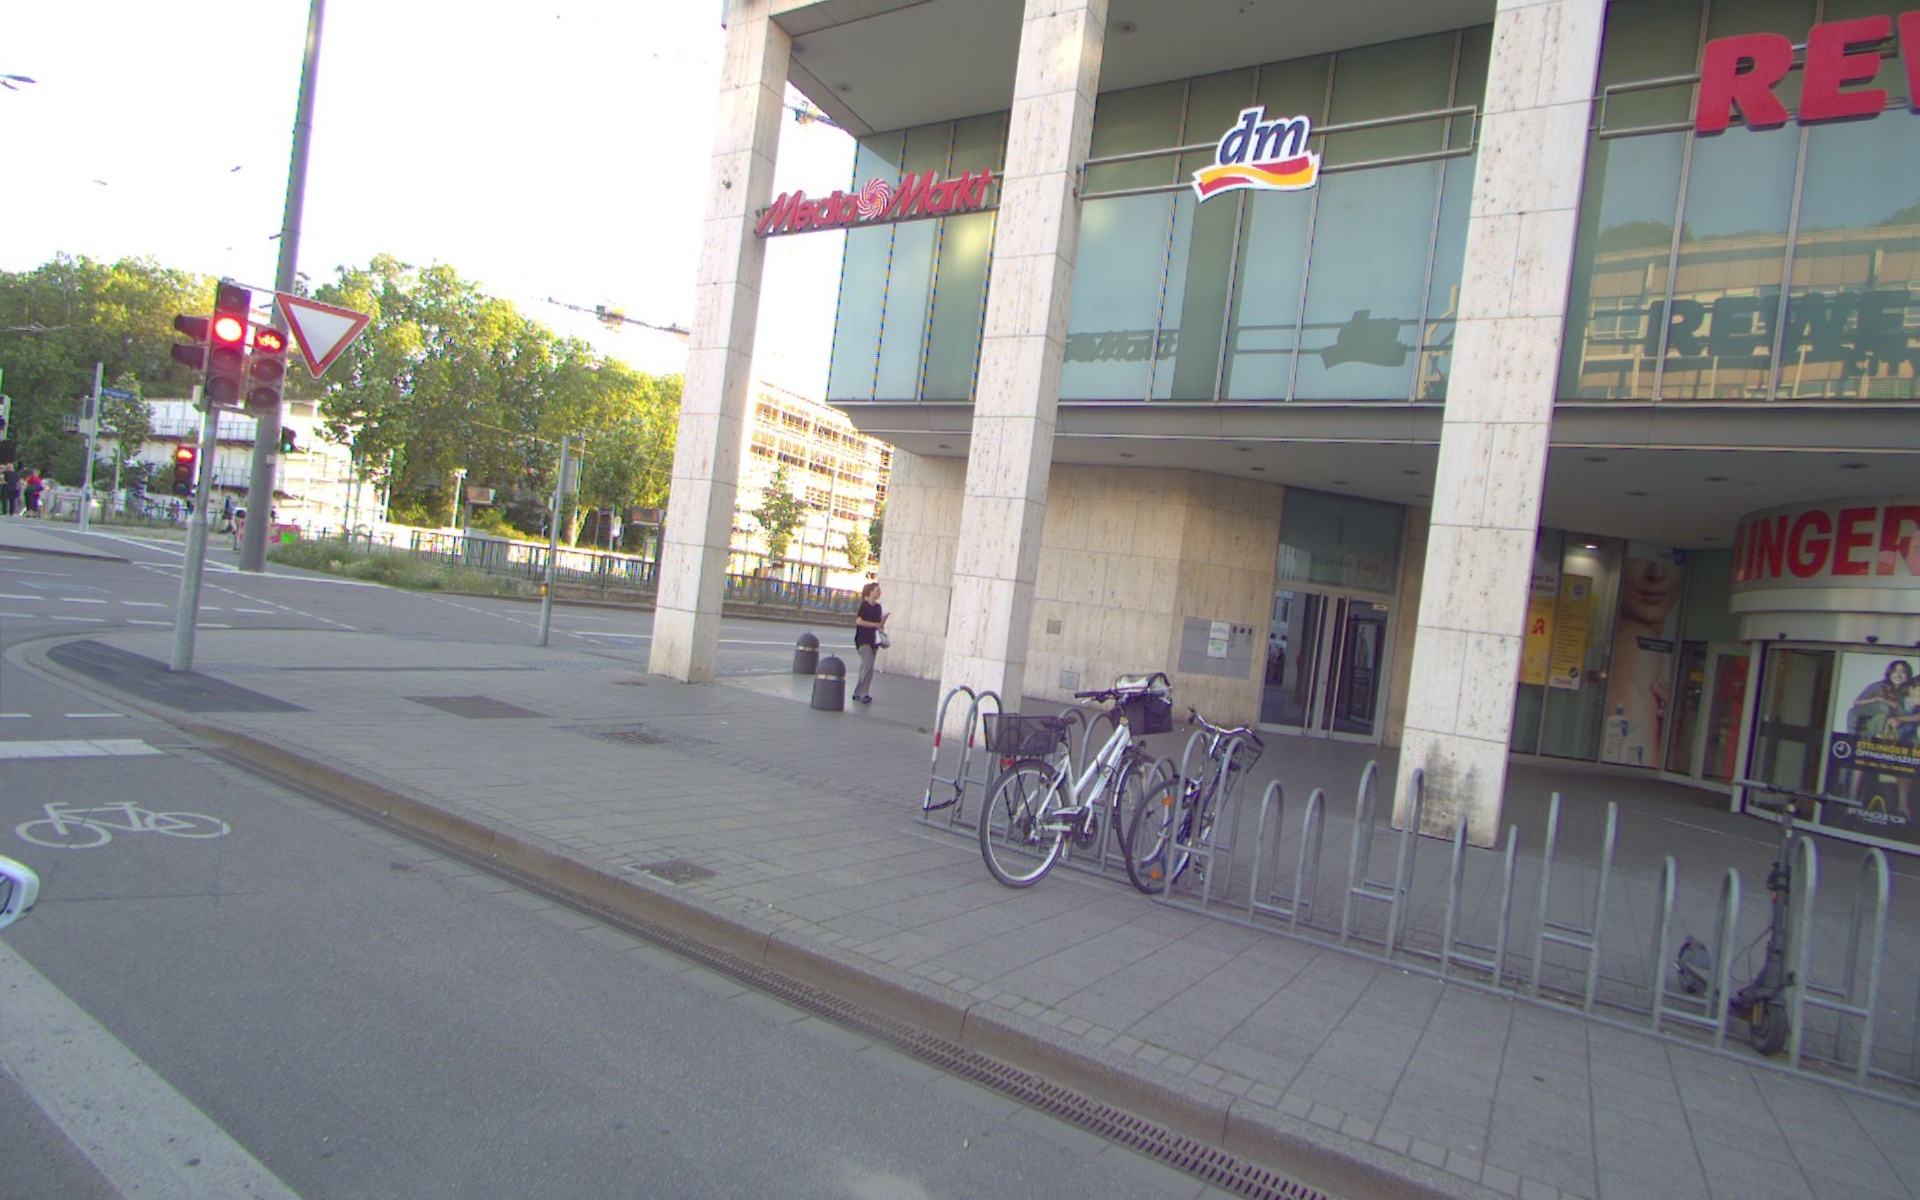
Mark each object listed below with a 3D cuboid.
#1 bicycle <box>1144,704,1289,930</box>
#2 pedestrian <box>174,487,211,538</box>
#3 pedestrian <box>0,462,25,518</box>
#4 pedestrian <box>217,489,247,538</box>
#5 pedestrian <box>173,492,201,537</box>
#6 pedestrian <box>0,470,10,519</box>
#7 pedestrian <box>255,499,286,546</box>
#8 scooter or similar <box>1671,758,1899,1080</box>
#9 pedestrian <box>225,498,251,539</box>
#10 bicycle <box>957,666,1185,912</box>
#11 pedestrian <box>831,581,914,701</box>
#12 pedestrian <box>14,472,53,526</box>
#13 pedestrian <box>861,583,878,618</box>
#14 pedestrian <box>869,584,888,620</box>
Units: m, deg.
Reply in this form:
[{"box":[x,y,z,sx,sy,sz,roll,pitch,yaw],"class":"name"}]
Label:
[{"box":[1.675,1.275,6.371,0.474,1.092,1.773,8,0,24],"class":"bicycle"},{"box":[-28.600,-3.251,37.505,0.700,1.746,0.668,7,1,18],"class":"pedestrian"},{"box":[-32.779,-3.792,34.564,0.803,1.814,0.790,7,1,-44],"class":"pedestrian"},{"box":[-27.830,-3.298,38.462,0.708,1.746,0.660,7,1,-41],"class":"pedestrian"},{"box":[-29.443,-3.260,38.323,0.527,1.612,0.571,8,1,32],"class":"pedestrian"},{"box":[-33.861,-3.728,35.335,0.570,1.699,0.631,7,1,-44],"class":"pedestrian"},{"box":[-27.771,-3.114,40.498,0.658,1.746,0.711,8,1,36],"class":"pedestrian"},{"box":[3.988,1.470,4.954,0.484,1.214,1.196,8,1,27],"class":"scooter or similar"},{"box":[-28.111,-3.171,39.178,0.672,1.459,0.707,7,1,-36],"class":"pedestrian"},{"box":[0.701,1.041,5.923,0.540,1.198,1.479,8,1,36],"class":"bicycle"},{"box":[-1.287,0.607,14.819,0.696,1.659,0.791,8,1,33],"class":"pedestrian"},{"box":[-32.686,-3.555,35.491,0.696,1.756,0.843,8,1,44],"class":"pedestrian"},{"box":[-5.469,0.049,60.706,0.559,2.039,0.575,8,1,28],"class":"pedestrian"},{"box":[-4.896,0.110,60.406,0.631,2.039,0.626,8,1,28],"class":"pedestrian"}]
